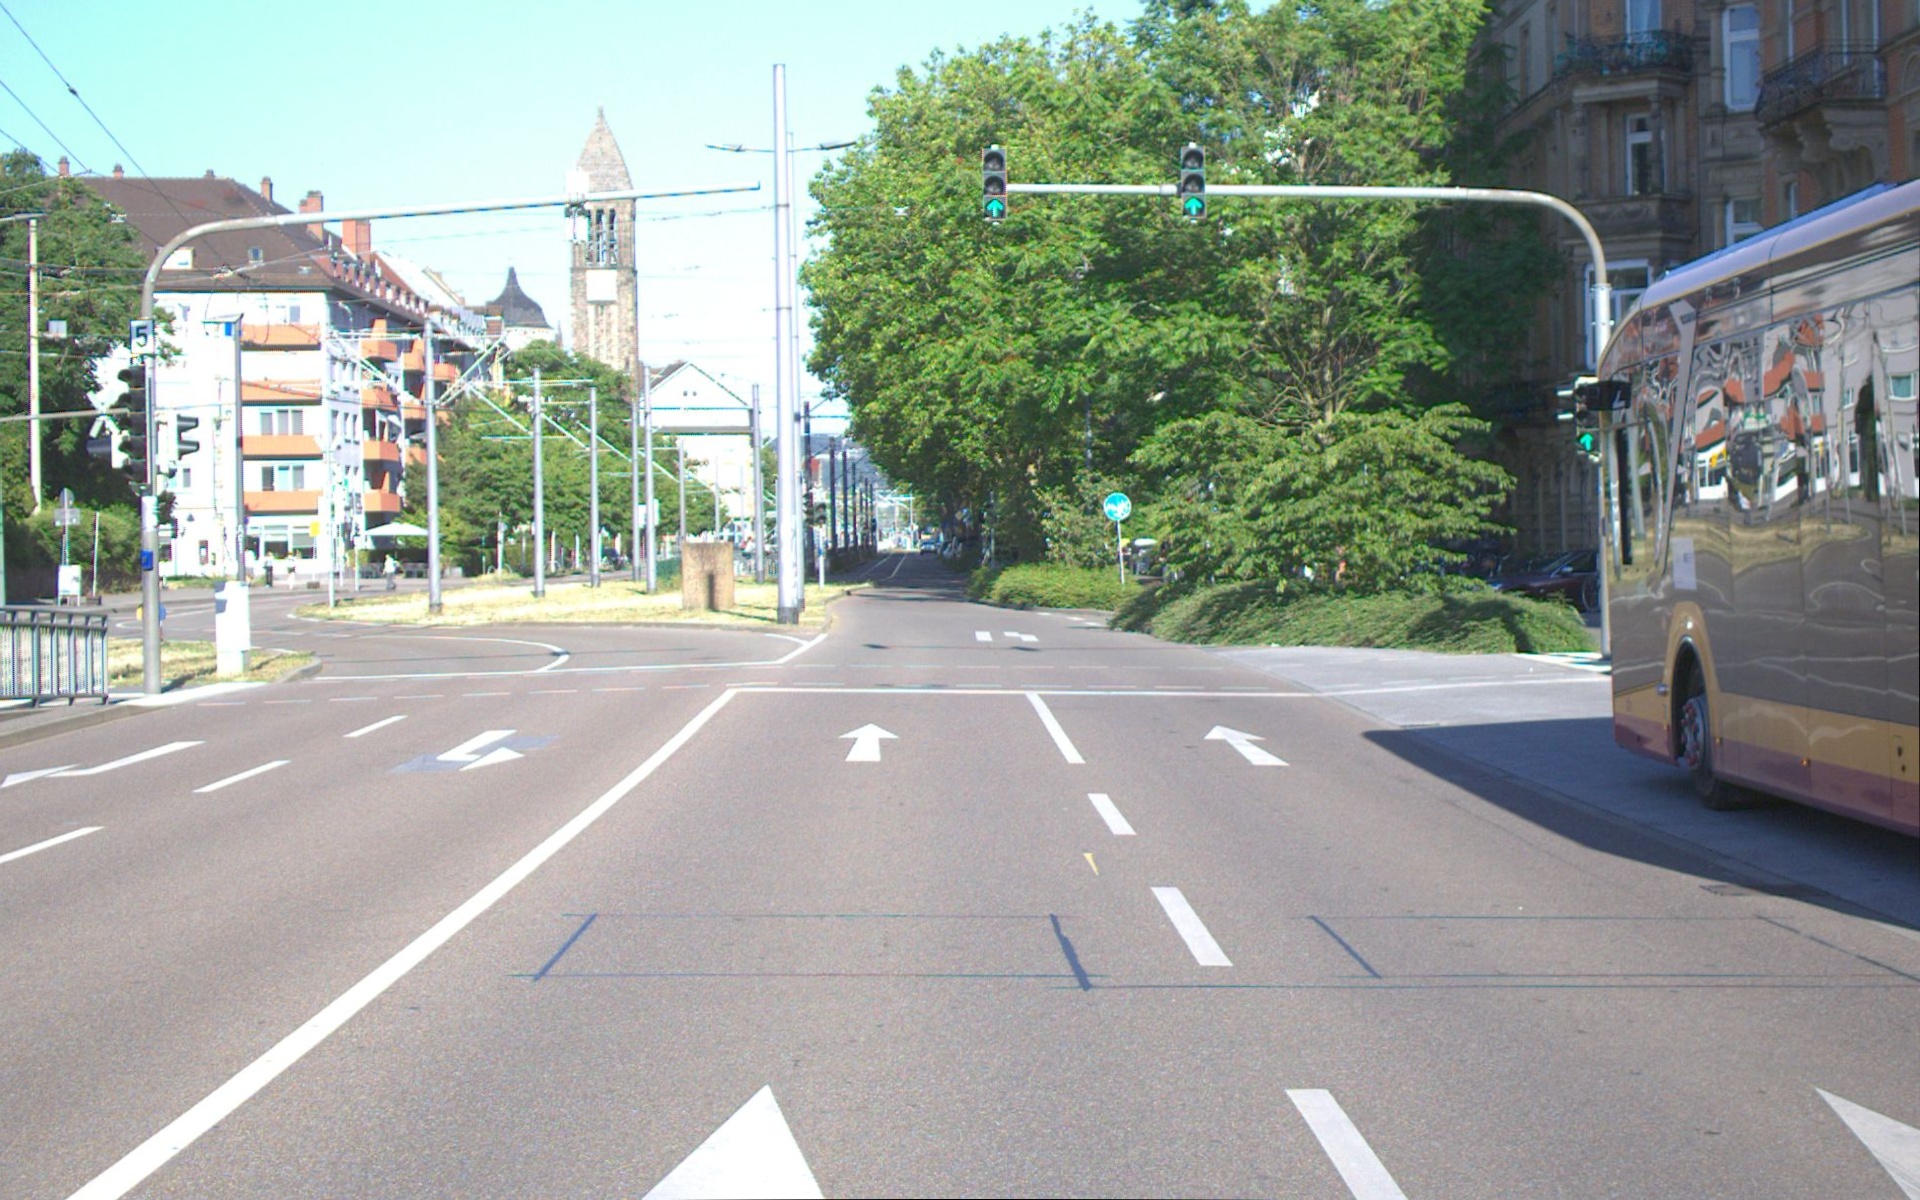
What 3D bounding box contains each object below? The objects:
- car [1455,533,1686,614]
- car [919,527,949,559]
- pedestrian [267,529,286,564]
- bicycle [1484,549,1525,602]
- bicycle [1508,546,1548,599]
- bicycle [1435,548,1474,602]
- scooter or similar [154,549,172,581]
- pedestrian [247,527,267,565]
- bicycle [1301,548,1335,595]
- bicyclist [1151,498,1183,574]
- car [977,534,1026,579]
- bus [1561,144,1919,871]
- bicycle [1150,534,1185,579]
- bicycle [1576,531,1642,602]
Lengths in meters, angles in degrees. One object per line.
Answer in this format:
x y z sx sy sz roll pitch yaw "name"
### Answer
12.148 -0.531 68.578 4.250 1.410 1.813 -1 4 -1 "car"
-1.760 -3.837 232.512 1.993 2.100 4.000 1 0 0 "car"
-30.142 -2.370 151.651 0.589 1.462 0.916 -2 4 0 "pedestrian"
11.802 -0.539 74.547 0.518 1.044 1.821 -2 4 -1 "bicycle"
12.426 -0.606 75.240 0.518 1.044 1.821 -2 4 -1 "bicycle"
10.720 -0.543 74.509 0.518 1.044 1.821 -2 4 -1 "bicycle"
-32.697 -1.431 140.982 0.401 1.256 1.231 -2 4 0 "scooter or similar"
-30.996 -2.378 151.620 0.644 1.593 0.898 -2 4 0 "pedestrian"
8.303 -0.670 79.764 0.525 0.985 1.722 -2 4 -2 "bicycle"
5.087 -1.569 84.505 0.641 1.808 1.052 -2 0 -1 "bicyclist"
1.479 -1.559 122.945 1.643 1.506 4.183 -2 1 0 "car"
5.522 -0.469 16.919 2.715 3.170 12.542 -2 1 -1 "bus"
5.099 -1.063 84.622 0.641 1.044 2.360 -2 0 -1 "bicycle"
11.740 -0.606 62.232 0.489 1.234 1.890 -2 0 -10 "bicycle"
